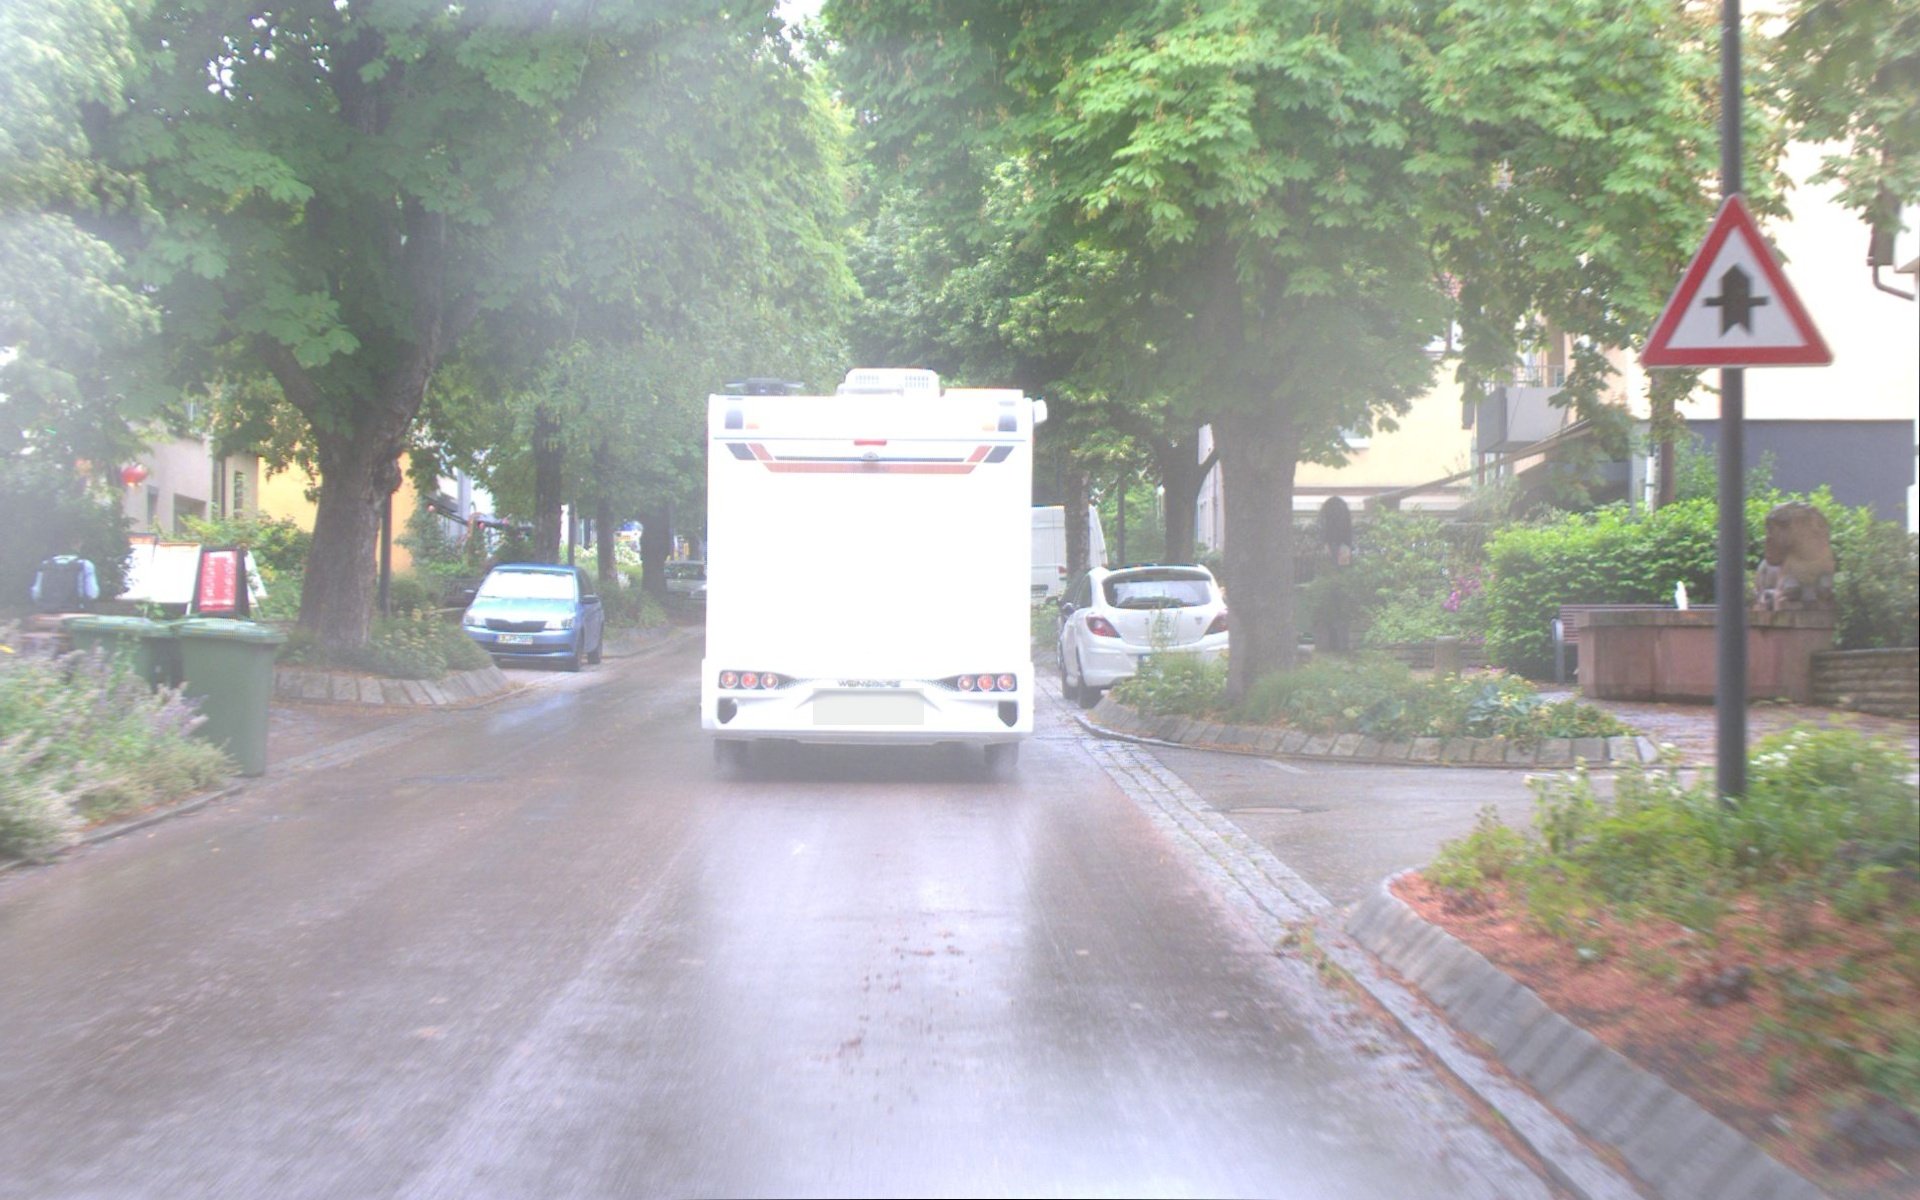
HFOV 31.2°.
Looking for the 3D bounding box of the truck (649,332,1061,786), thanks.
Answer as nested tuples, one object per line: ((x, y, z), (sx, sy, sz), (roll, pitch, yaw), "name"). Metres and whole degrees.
((-0.739, -0.294, 25.987), (2.694, 2.975, 6.237), (1, 0, -1), "truck")

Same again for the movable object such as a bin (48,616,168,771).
((-5.946, 0.645, 24.014), (0.663, 1.070, 0.596), (0, 0, 4), "movable object such as a bin")

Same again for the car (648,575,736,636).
((-6.662, 0.123, 85.823), (1.772, 1.384, 4.545), (2, 1, 0), "car")

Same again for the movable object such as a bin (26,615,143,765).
((-6.307, 0.641, 24.788), (0.663, 1.070, 0.596), (0, 0, 4), "movable object such as a bin")

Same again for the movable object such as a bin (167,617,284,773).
((-5.109, 0.658, 23.936), (0.663, 1.070, 0.596), (0, 0, 4), "movable object such as a bin")

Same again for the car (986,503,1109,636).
((1.658, -0.586, 66.854), (2.141, 2.452, 5.435), (1, 0, -1), "car")

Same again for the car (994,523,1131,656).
((1.592, -0.175, 54.944), (1.993, 2.007, 4.000), (1, 0, -1), "car")

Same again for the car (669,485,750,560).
((-6.973, -2.138, 96.127), (1.993, 2.007, 4.000), (1, 0, -1), "car")

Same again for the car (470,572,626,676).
((-5.799, 0.311, 48.737), (1.749, 1.391, 3.796), (1, 0, 0), "car")

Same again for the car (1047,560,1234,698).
((1.877, 0.276, 36.716), (1.680, 1.395, 3.795), (0, 0, -2), "car")

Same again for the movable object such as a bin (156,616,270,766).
((-5.362, 0.649, 24.708), (0.663, 1.064, 0.596), (0, 0, 4), "movable object such as a bin")

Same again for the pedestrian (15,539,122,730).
((-7.548, 0.283, 29.130), (0.650, 1.588, 0.932), (1, 0, -1), "pedestrian")

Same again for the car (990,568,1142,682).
((1.366, 0.304, 45.679), (1.808, 1.406, 3.784), (1, 1, -1), "car")

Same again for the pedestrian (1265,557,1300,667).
((5.088, 0.181, 54.242), (0.491, 1.725, 0.768), (1, 1, 9), "pedestrian")
